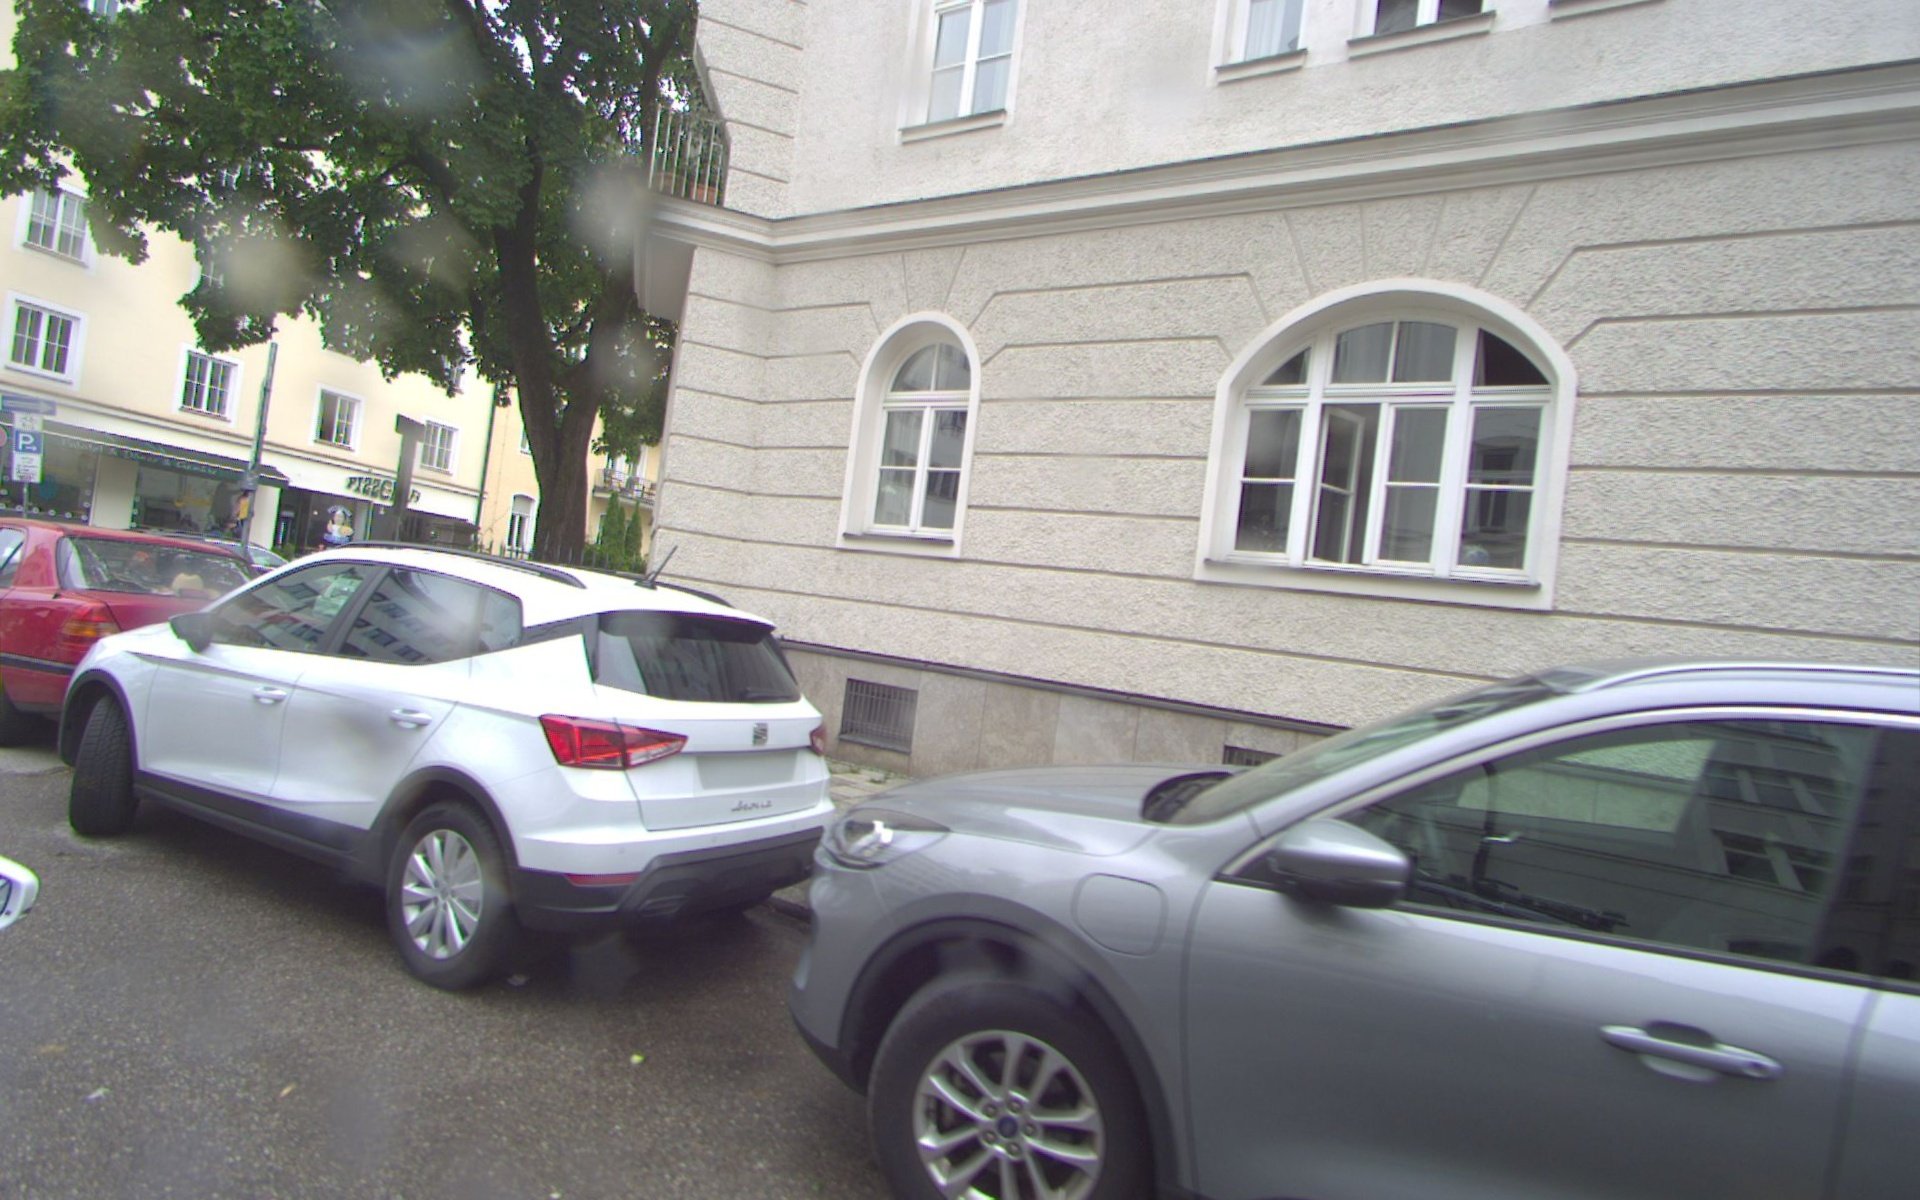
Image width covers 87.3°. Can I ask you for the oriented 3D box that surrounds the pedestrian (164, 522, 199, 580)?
[{"bbox_3d":[-20.721,-1.298,26.797,0.507,1.450,0.579,7,0,-28],"label":"pedestrian"}]

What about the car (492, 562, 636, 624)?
[{"bbox_3d":[-11.864,-0.163,30.449,1.778,1.465,4.002,3,-3,20],"label":"car"}]

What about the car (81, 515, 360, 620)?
[{"bbox_3d":[-15.330,-0.603,21.183,1.787,1.610,4.353,5,-3,20],"label":"car"}]

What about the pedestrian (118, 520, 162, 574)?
[{"bbox_3d":[-21.737,-1.400,26.672,0.572,1.312,0.513,7,0,0],"label":"pedestrian"}]

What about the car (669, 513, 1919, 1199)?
[{"bbox_3d":[1.596,0.908,2.518,4.351,1.734,1.793,7,-1,29],"label":"car"}]

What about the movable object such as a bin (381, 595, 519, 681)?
[{"bbox_3d":[-6.183,0.467,12.207,1.198,0.875,0.902,7,-1,28],"label":"movable object such as a bin"}]

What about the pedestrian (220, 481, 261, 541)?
[{"bbox_3d":[-20.678,-2.547,28.933,0.567,1.592,0.554,7,-2,21],"label":"pedestrian"}]

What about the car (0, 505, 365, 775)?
[{"bbox_3d":[-6.440,0.121,7.349,4.142,1.451,1.673,7,-2,30],"label":"car"}]

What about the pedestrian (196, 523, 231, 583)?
[{"bbox_3d":[-20.344,-1.287,27.427,0.552,1.556,0.431,8,1,-32],"label":"pedestrian"}]

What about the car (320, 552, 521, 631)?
[{"bbox_3d":[-13.582,-0.141,25.668,1.787,1.520,4.353,4,-3,20],"label":"car"}]

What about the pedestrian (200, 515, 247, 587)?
[{"bbox_3d":[-18.682,-1.242,25.522,0.533,1.723,0.604,9,1,22],"label":"pedestrian"}]

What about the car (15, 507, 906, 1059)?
[{"bbox_3d":[-2.428,0.570,4.817,3.841,1.513,1.755,7,-1,27],"label":"car"}]

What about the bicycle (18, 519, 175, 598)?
[{"bbox_3d":[-17.813,-0.824,20.831,1.086,1.268,2.091,8,-2,21],"label":"bicycle"}]

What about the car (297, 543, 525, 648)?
[{"bbox_3d":[-10.139,-0.020,18.826,1.598,1.505,3.332,8,-1,23],"label":"car"}]

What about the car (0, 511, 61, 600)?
[{"bbox_3d":[-17.699,-0.939,16.505,1.791,1.431,3.994,2,-4,31],"label":"car"}]

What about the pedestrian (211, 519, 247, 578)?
[{"bbox_3d":[-20.507,-1.429,28.216,0.525,1.570,0.435,7,0,3],"label":"pedestrian"}]
